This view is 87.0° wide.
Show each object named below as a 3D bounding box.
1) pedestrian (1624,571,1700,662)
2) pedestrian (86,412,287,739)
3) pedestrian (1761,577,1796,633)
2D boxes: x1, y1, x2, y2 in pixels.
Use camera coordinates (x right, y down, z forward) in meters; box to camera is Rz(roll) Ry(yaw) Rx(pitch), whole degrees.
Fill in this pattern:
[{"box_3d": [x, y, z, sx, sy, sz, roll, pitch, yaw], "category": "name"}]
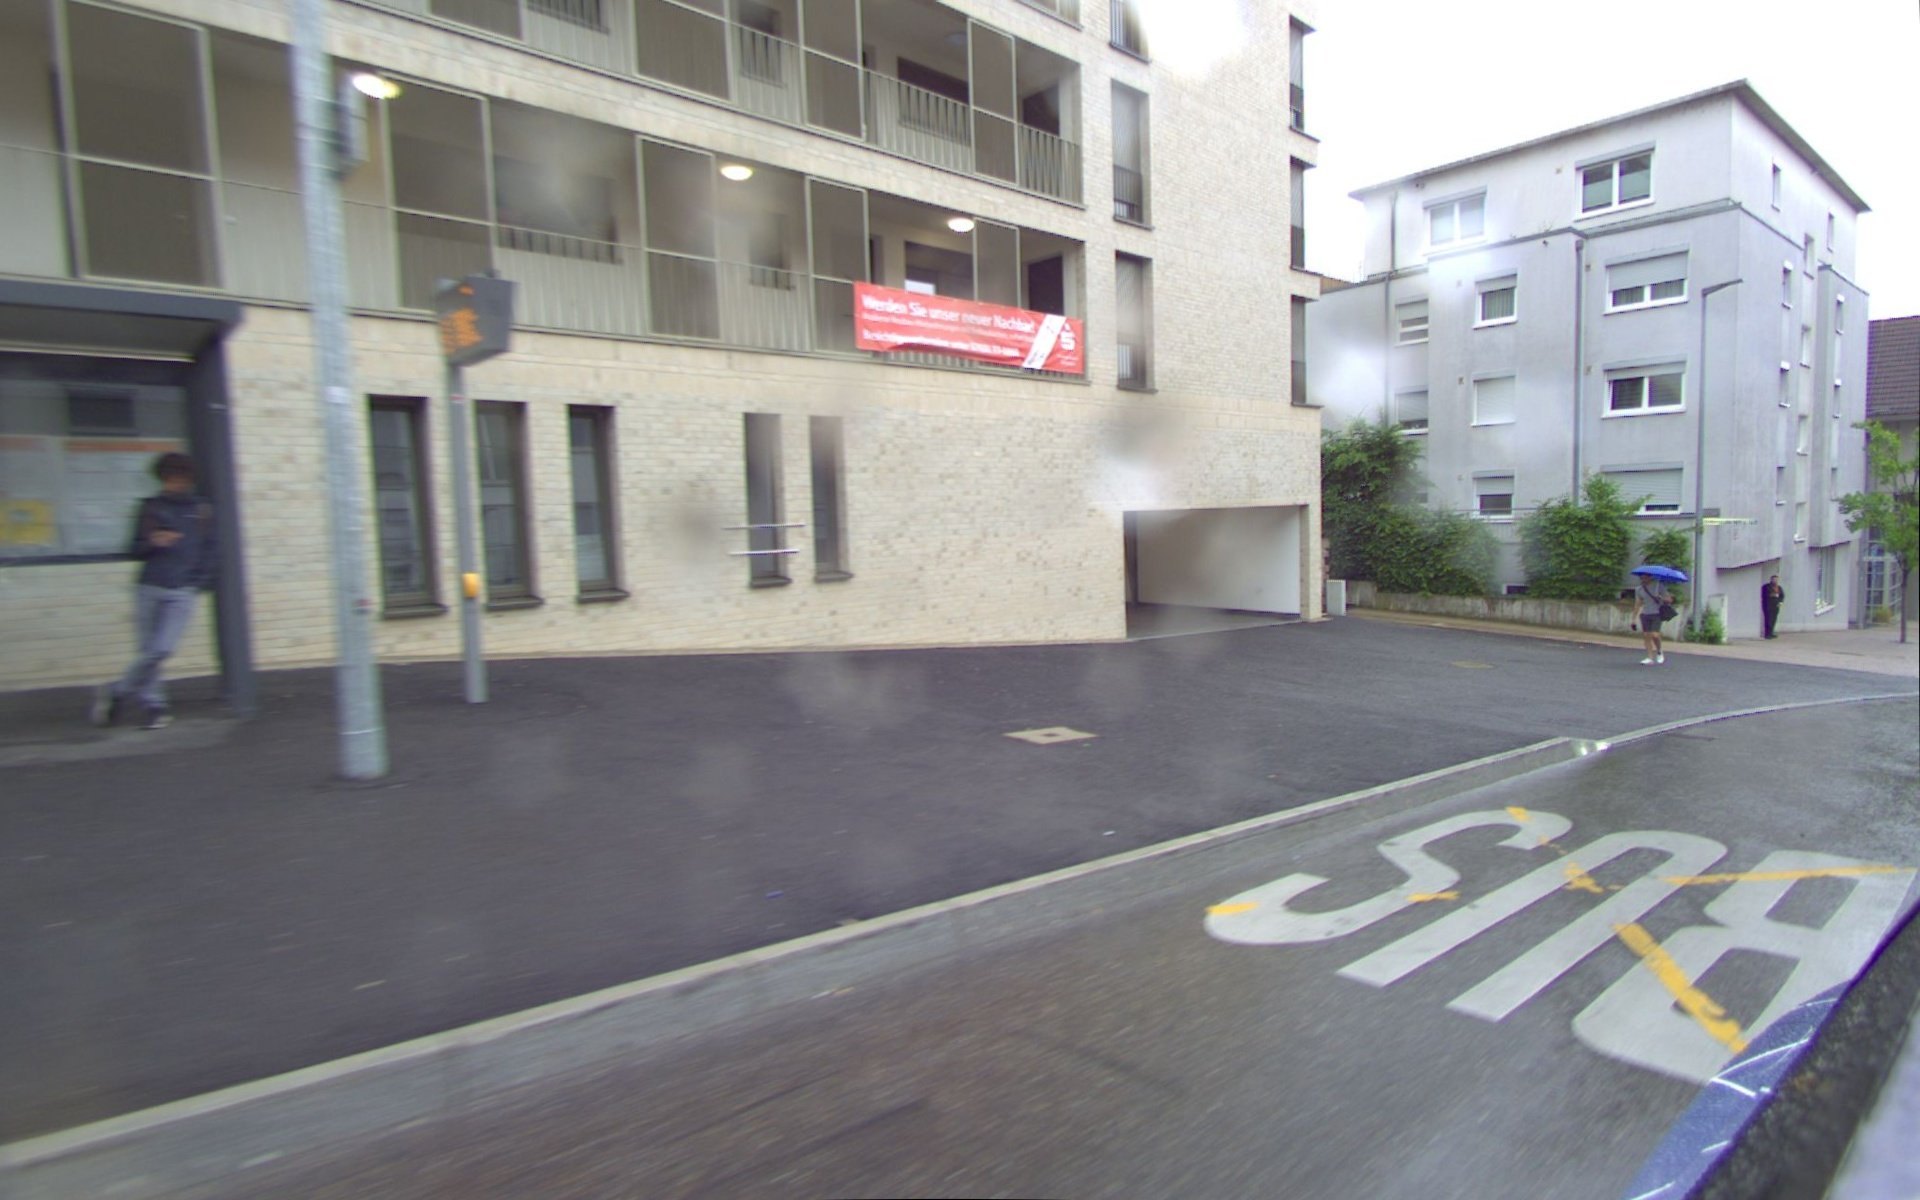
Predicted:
[{"box_3d": [12.813, 0.286, 18.478, 1.019, 1.560, 0.738, 0, 5, -37], "category": "pedestrian"}, {"box_3d": [-5.107, -0.174, 6.702, 1.003, 1.963, 0.784, 0, 4, -40], "category": "pedestrian"}, {"box_3d": [23.801, 0.128, 29.421, 0.690, 1.575, 0.699, 2, 2, 44], "category": "pedestrian"}]
